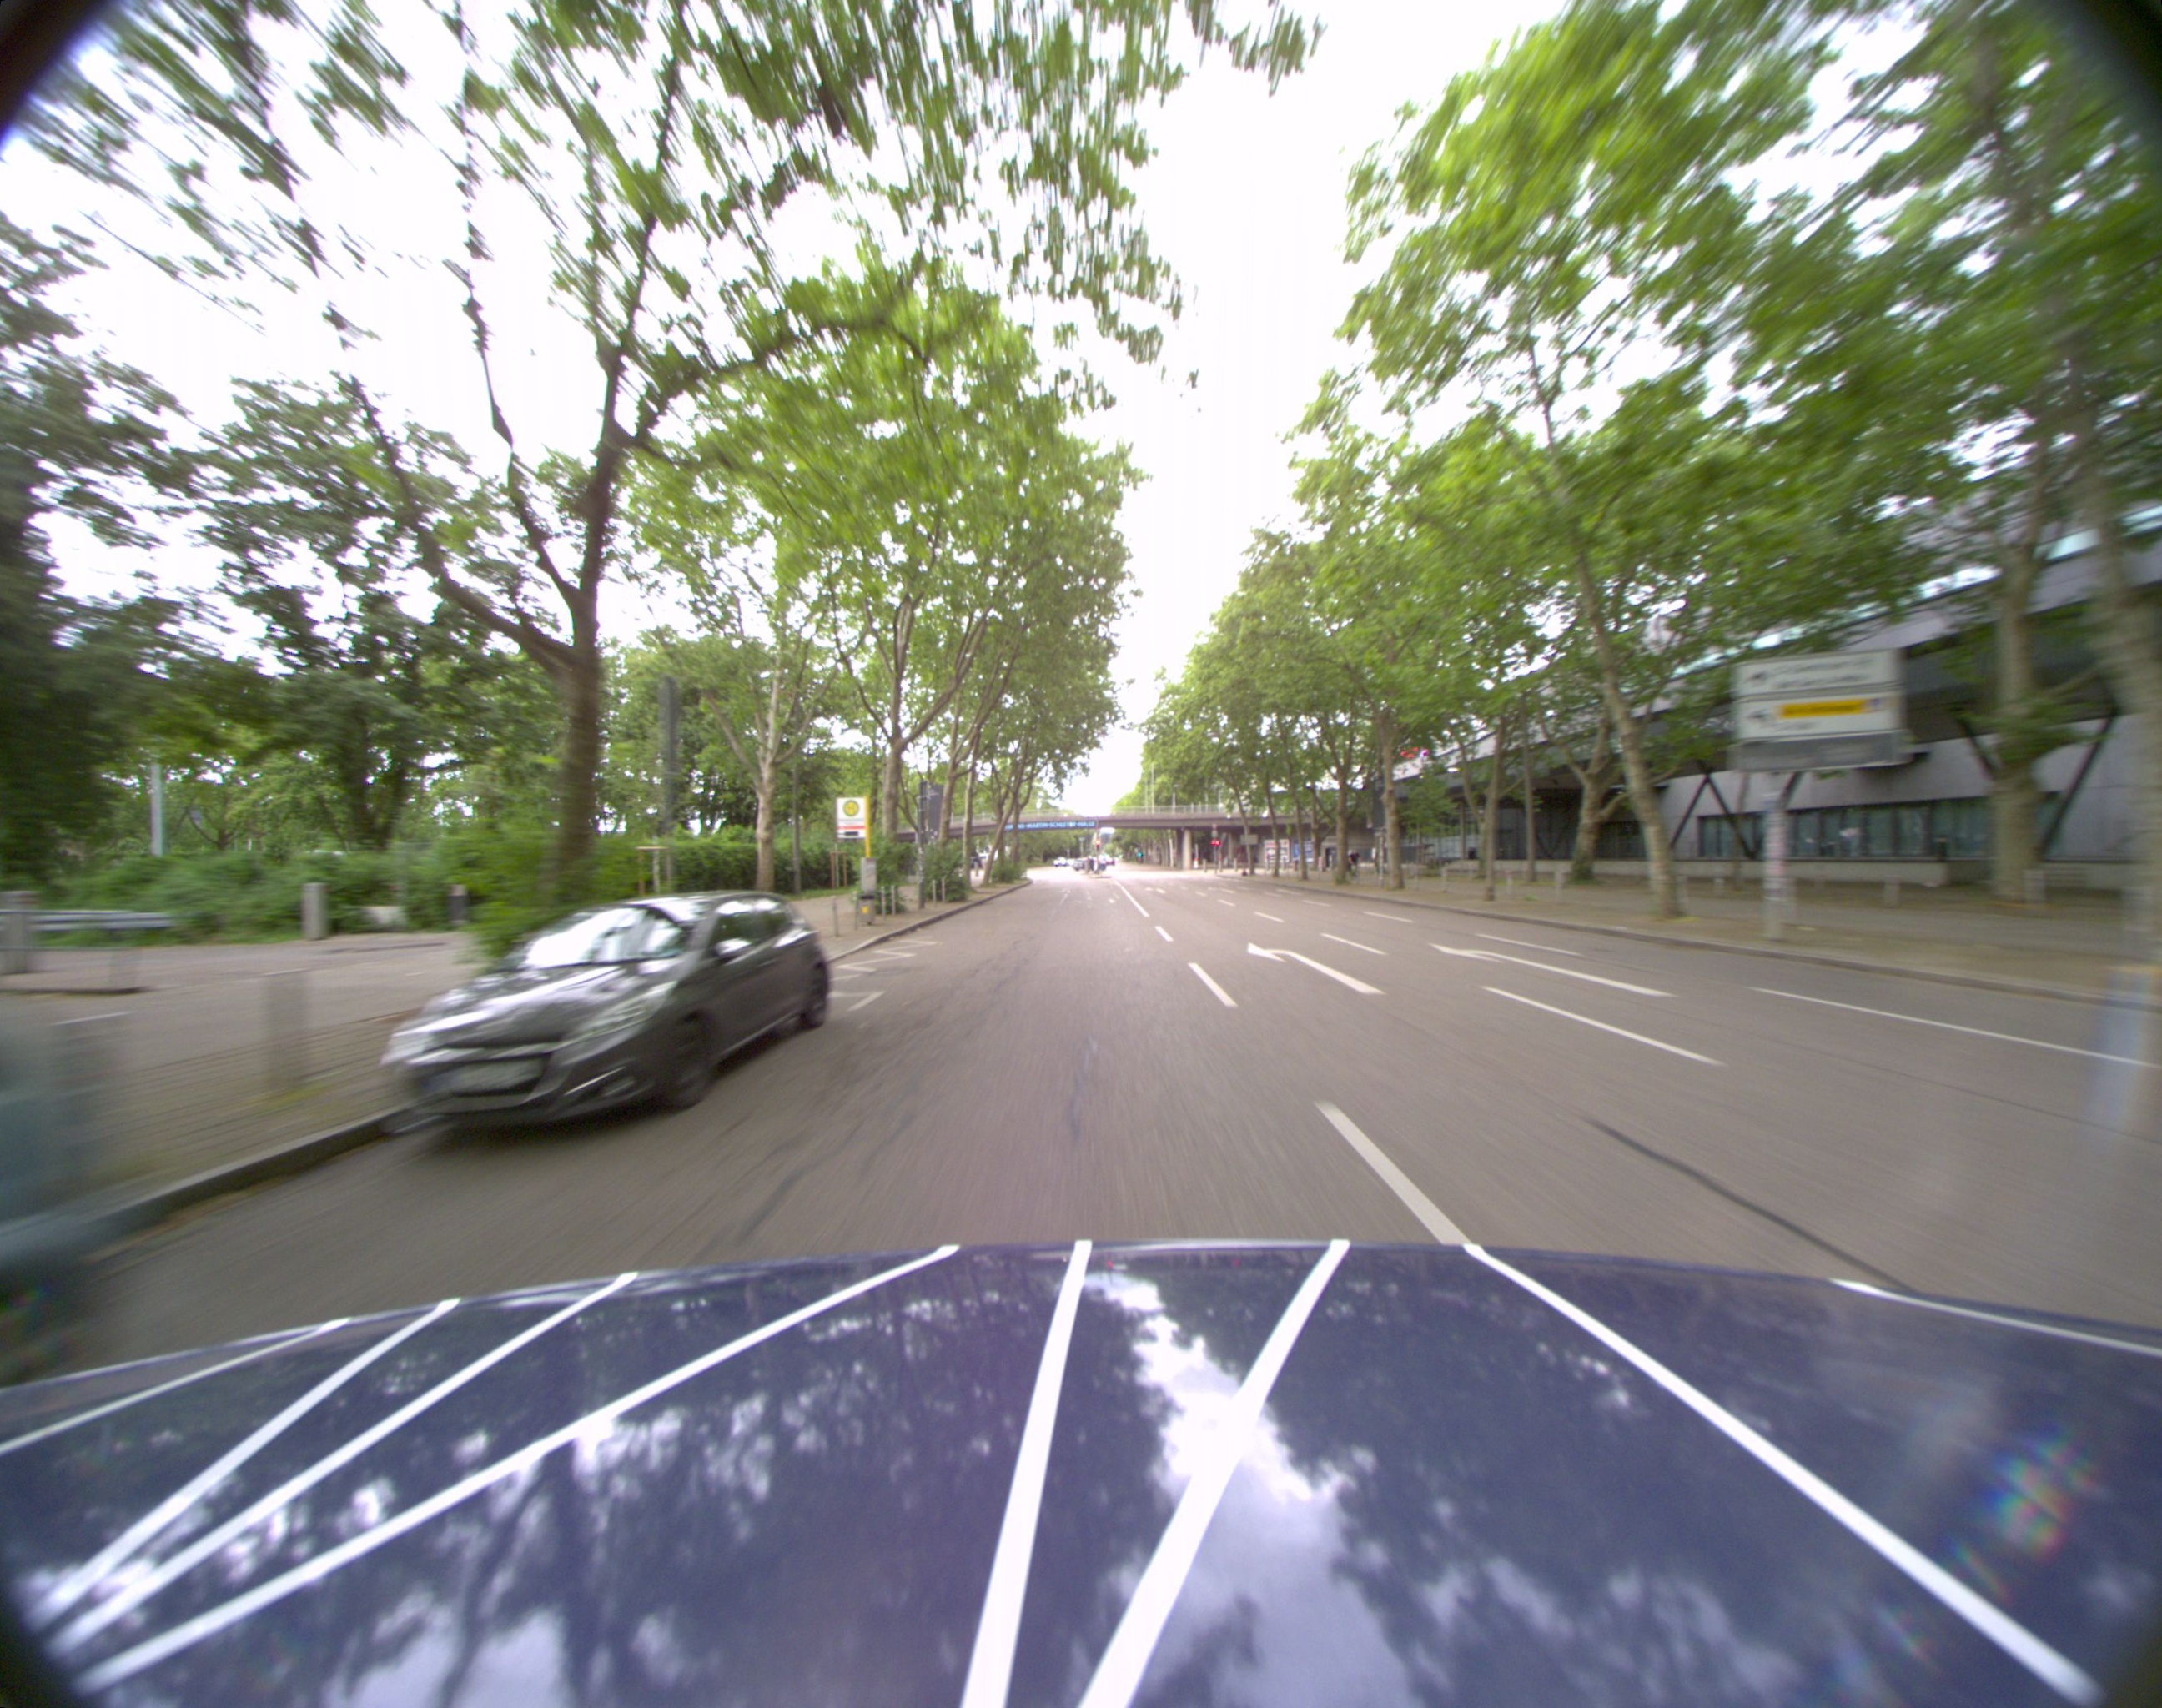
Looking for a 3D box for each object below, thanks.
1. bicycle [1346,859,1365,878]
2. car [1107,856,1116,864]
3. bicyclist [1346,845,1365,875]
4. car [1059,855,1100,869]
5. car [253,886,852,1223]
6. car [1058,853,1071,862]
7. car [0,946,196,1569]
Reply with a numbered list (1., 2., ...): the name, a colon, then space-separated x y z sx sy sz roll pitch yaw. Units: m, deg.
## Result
1. bicycle: 15.899 0.834 43.998 0.516 1.007 1.537 0 2 -1
2. car: 6.356 1.275 159.026 1.833 1.443 4.076 0 1 1
3. bicyclist: 15.904 0.344 43.985 0.766 1.688 0.854 0 2 -1
4. car: -0.156 0.939 89.321 4.695 1.437 1.882 -2 0 -38
5. car: -3.516 1.177 6.312 1.703 1.510 4.454 -5 0 1
6. car: -2.935 0.618 134.796 1.761 1.356 3.717 0 2 6
7. car: -3.672 1.137 0.316 1.723 1.558 4.093 -5 0 -1
